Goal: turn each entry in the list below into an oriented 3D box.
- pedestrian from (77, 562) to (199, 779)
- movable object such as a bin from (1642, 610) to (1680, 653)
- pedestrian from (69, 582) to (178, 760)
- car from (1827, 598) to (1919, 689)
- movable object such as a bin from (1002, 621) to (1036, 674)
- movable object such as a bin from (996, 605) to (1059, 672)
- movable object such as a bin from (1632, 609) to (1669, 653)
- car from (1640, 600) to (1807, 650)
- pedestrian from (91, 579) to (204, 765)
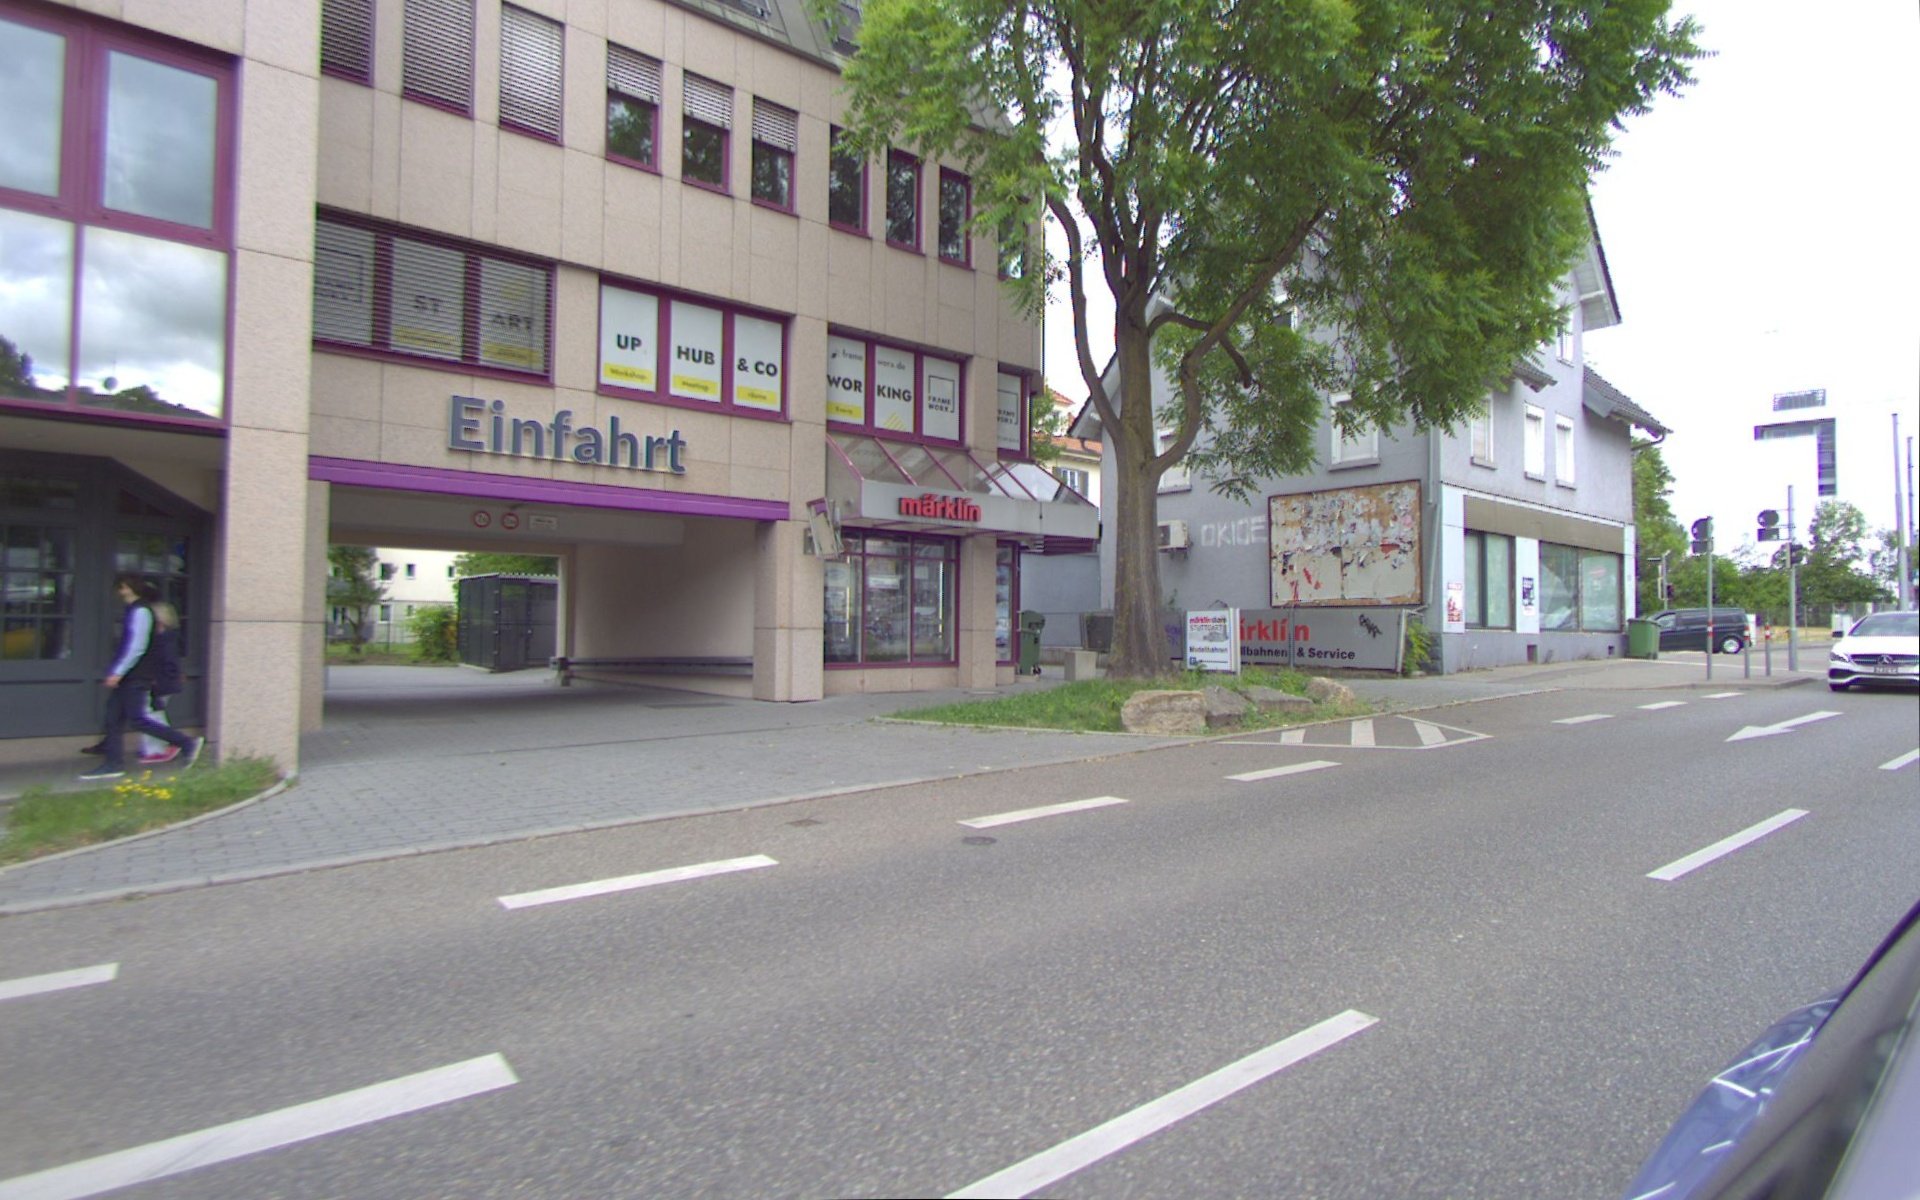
[{"bbox_3d":[-7.398,0.592,9.141,0.827,1.849,0.659,0,0,-38],"label":"pedestrian"},{"bbox_3d":[18.471,0.830,26.652,0.697,1.118,0.627,0,-2,-39],"label":"movable object such as a bin"},{"bbox_3d":[-8.465,0.681,10.276,0.827,1.712,0.659,0,0,-38],"label":"pedestrian"},{"bbox_3d":[17.588,0.723,18.449,4.613,1.491,1.798,0,-1,-38],"label":"car"},{"bbox_3d":[1.252,1.000,21.518,0.550,1.080,0.489,0,-1,-40],"label":"movable object such as a bin"},{"bbox_3d":[1.505,0.837,22.573,1.067,1.432,0.886,0,-1,-40],"label":"movable object such as a bin"},{"bbox_3d":[17.849,0.804,26.160,0.697,1.118,0.610,0,-2,-39],"label":"movable object such as a bin"},{"bbox_3d":[30.214,0.975,40.241,4.810,1.912,2.005,-1,-1,19],"label":"car"},{"bbox_3d":[-7.859,0.653,9.817,0.827,1.712,0.659,0,0,-38],"label":"pedestrian"}]
